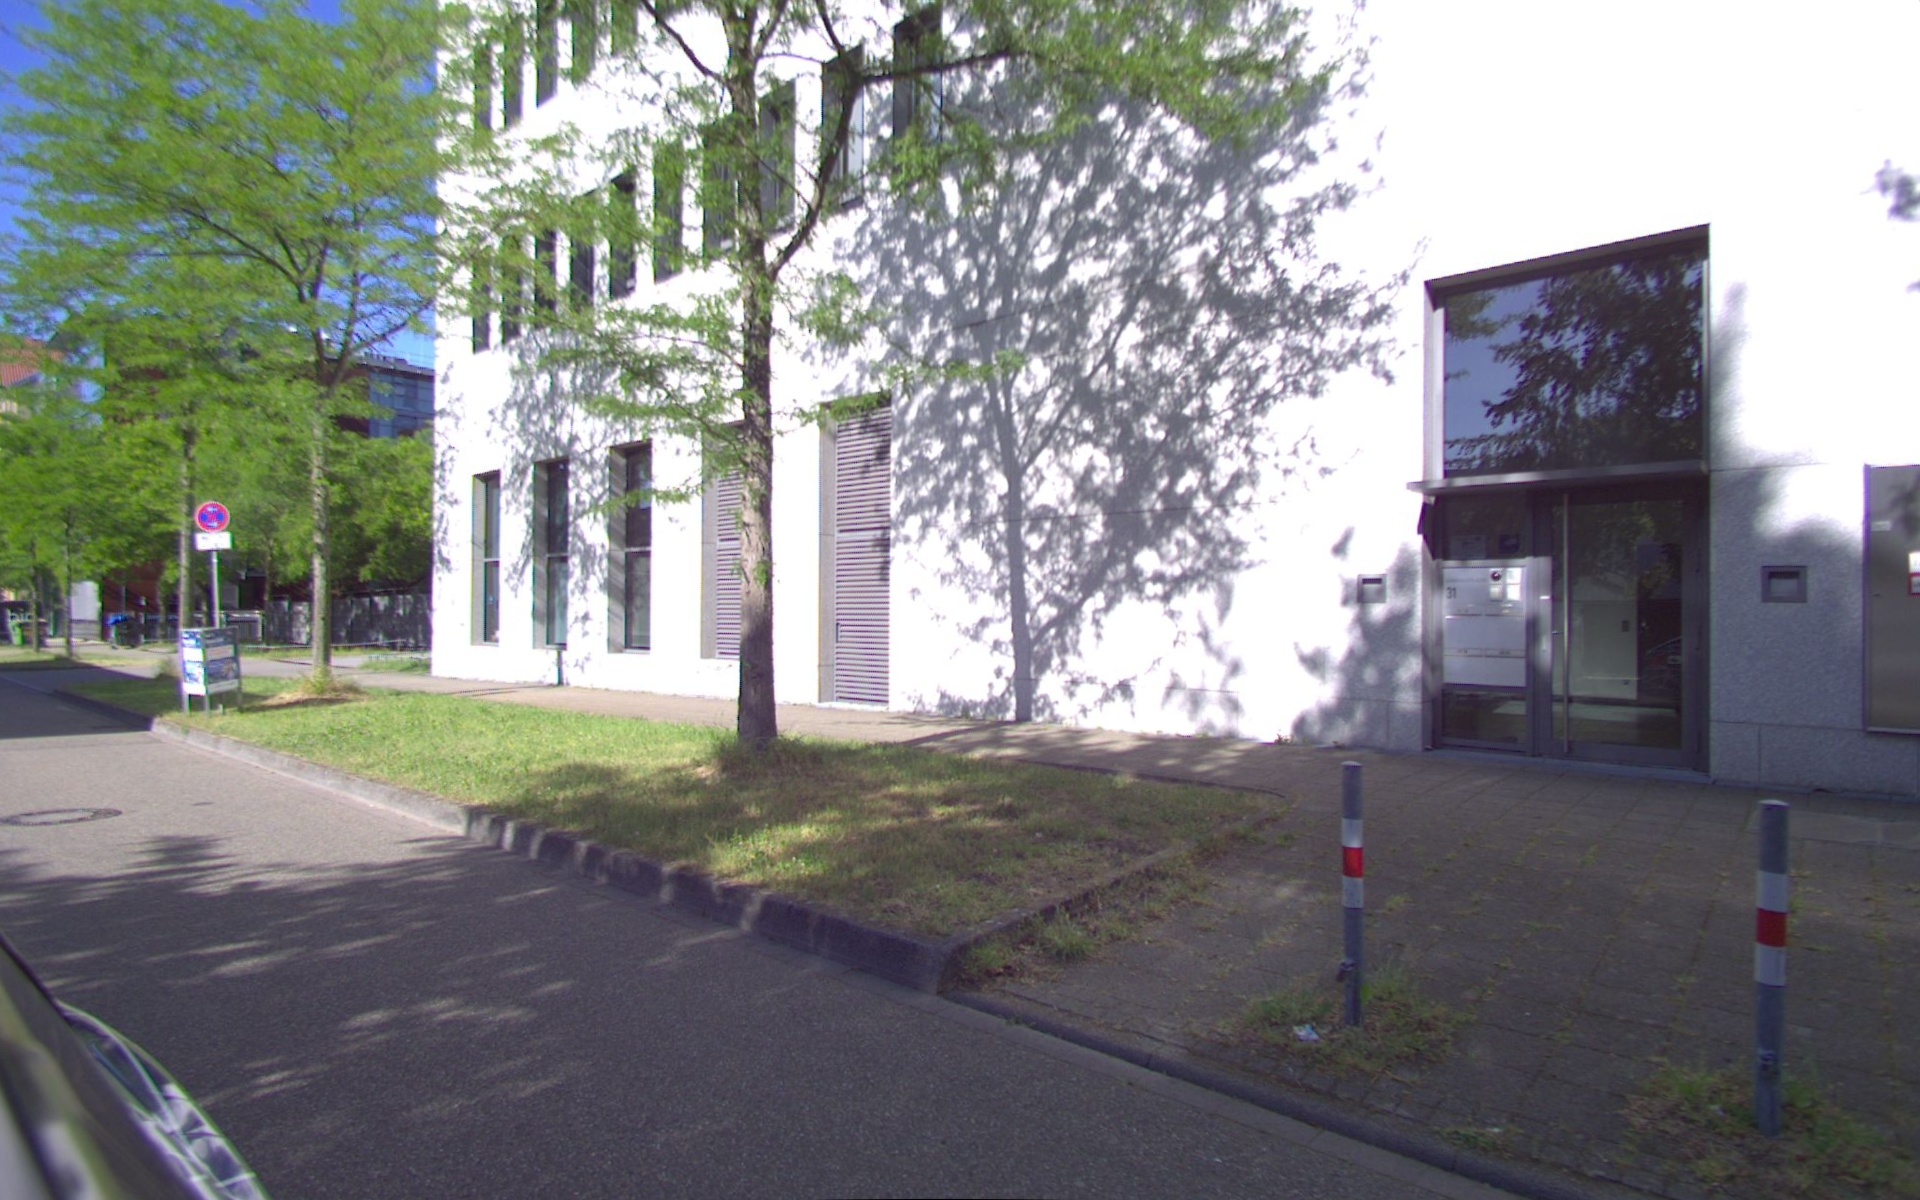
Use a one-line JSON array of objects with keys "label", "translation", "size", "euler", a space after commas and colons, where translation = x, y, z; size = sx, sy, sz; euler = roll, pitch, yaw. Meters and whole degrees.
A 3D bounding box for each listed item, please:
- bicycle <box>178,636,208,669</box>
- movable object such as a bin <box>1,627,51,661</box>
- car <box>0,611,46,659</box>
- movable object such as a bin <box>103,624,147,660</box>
[{"label": "bicycle", "translation": [-29.056, 1.971, 38.327], "size": [1.727, 1.201, 0.594], "euler": [-2, -1, 42]}, {"label": "movable object such as a bin", "translation": [-45.591, 2.131, 49.396], "size": [1.342, 1.580, 1.508], "euler": [-1, -1, 32]}, {"label": "car", "translation": [-53.209, 1.950, 54.687], "size": [1.985, 2.560, 5.419], "euler": [-2, 0, 41]}, {"label": "movable object such as a bin", "translation": [-39.169, 1.957, 47.477], "size": [1.501, 1.580, 1.348], "euler": [0, -1, -43]}]
